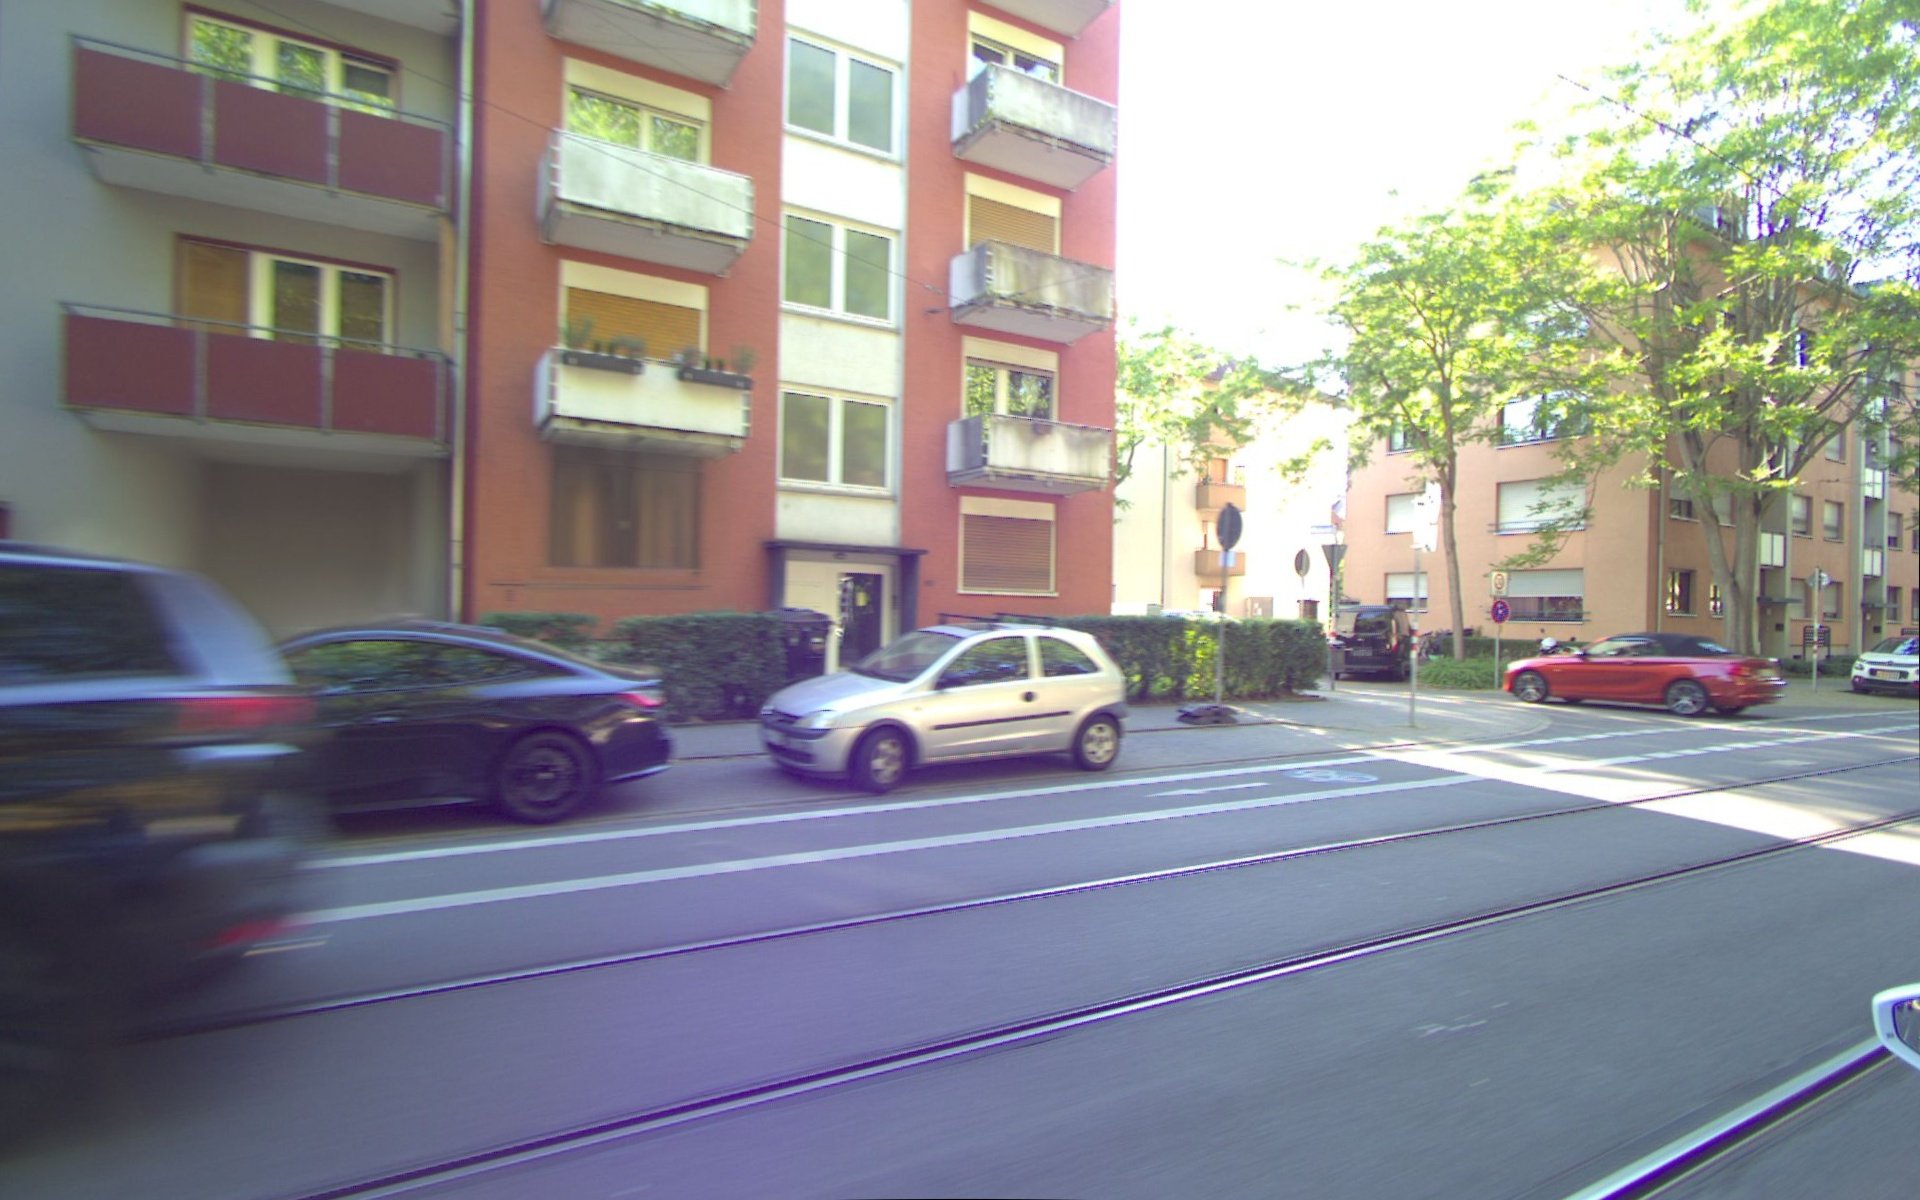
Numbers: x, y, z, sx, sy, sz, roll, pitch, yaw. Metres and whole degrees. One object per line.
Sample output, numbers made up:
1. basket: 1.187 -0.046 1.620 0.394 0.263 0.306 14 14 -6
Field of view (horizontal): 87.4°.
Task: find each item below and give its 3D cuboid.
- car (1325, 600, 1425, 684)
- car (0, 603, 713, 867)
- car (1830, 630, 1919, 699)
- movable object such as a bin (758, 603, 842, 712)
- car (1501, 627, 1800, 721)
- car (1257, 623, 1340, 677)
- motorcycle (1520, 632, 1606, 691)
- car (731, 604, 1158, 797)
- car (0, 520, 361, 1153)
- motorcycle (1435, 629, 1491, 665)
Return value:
1. car: 12.088 1.170 29.067 1.965 2.151 4.713 2 0 31
2. car: -4.493 0.827 7.462 4.805 1.414 1.943 2 2 -30
3. car: 23.551 1.573 24.845 4.041 1.498 1.797 2 1 -30
4. movable object such as a bin: -2.166 0.744 13.494 0.738 1.383 1.206 1 -1 -29
5. car: 12.518 1.290 18.518 1.776 1.407 4.205 3 -1 -28
6. car: 10.651 1.516 31.472 1.723 1.538 3.608 1 -1 31
7. motorcycle: 14.894 1.492 24.787 2.323 1.298 0.897 -1 0 -33
8. car: -0.099 0.876 9.973 3.886 1.503 1.715 2 2 -32
9. car: -4.175 0.584 2.628 4.412 1.621 1.844 2 -2 -31
10. motorcycle: 16.697 1.569 33.337 2.043 1.144 0.691 2 -1 -31
